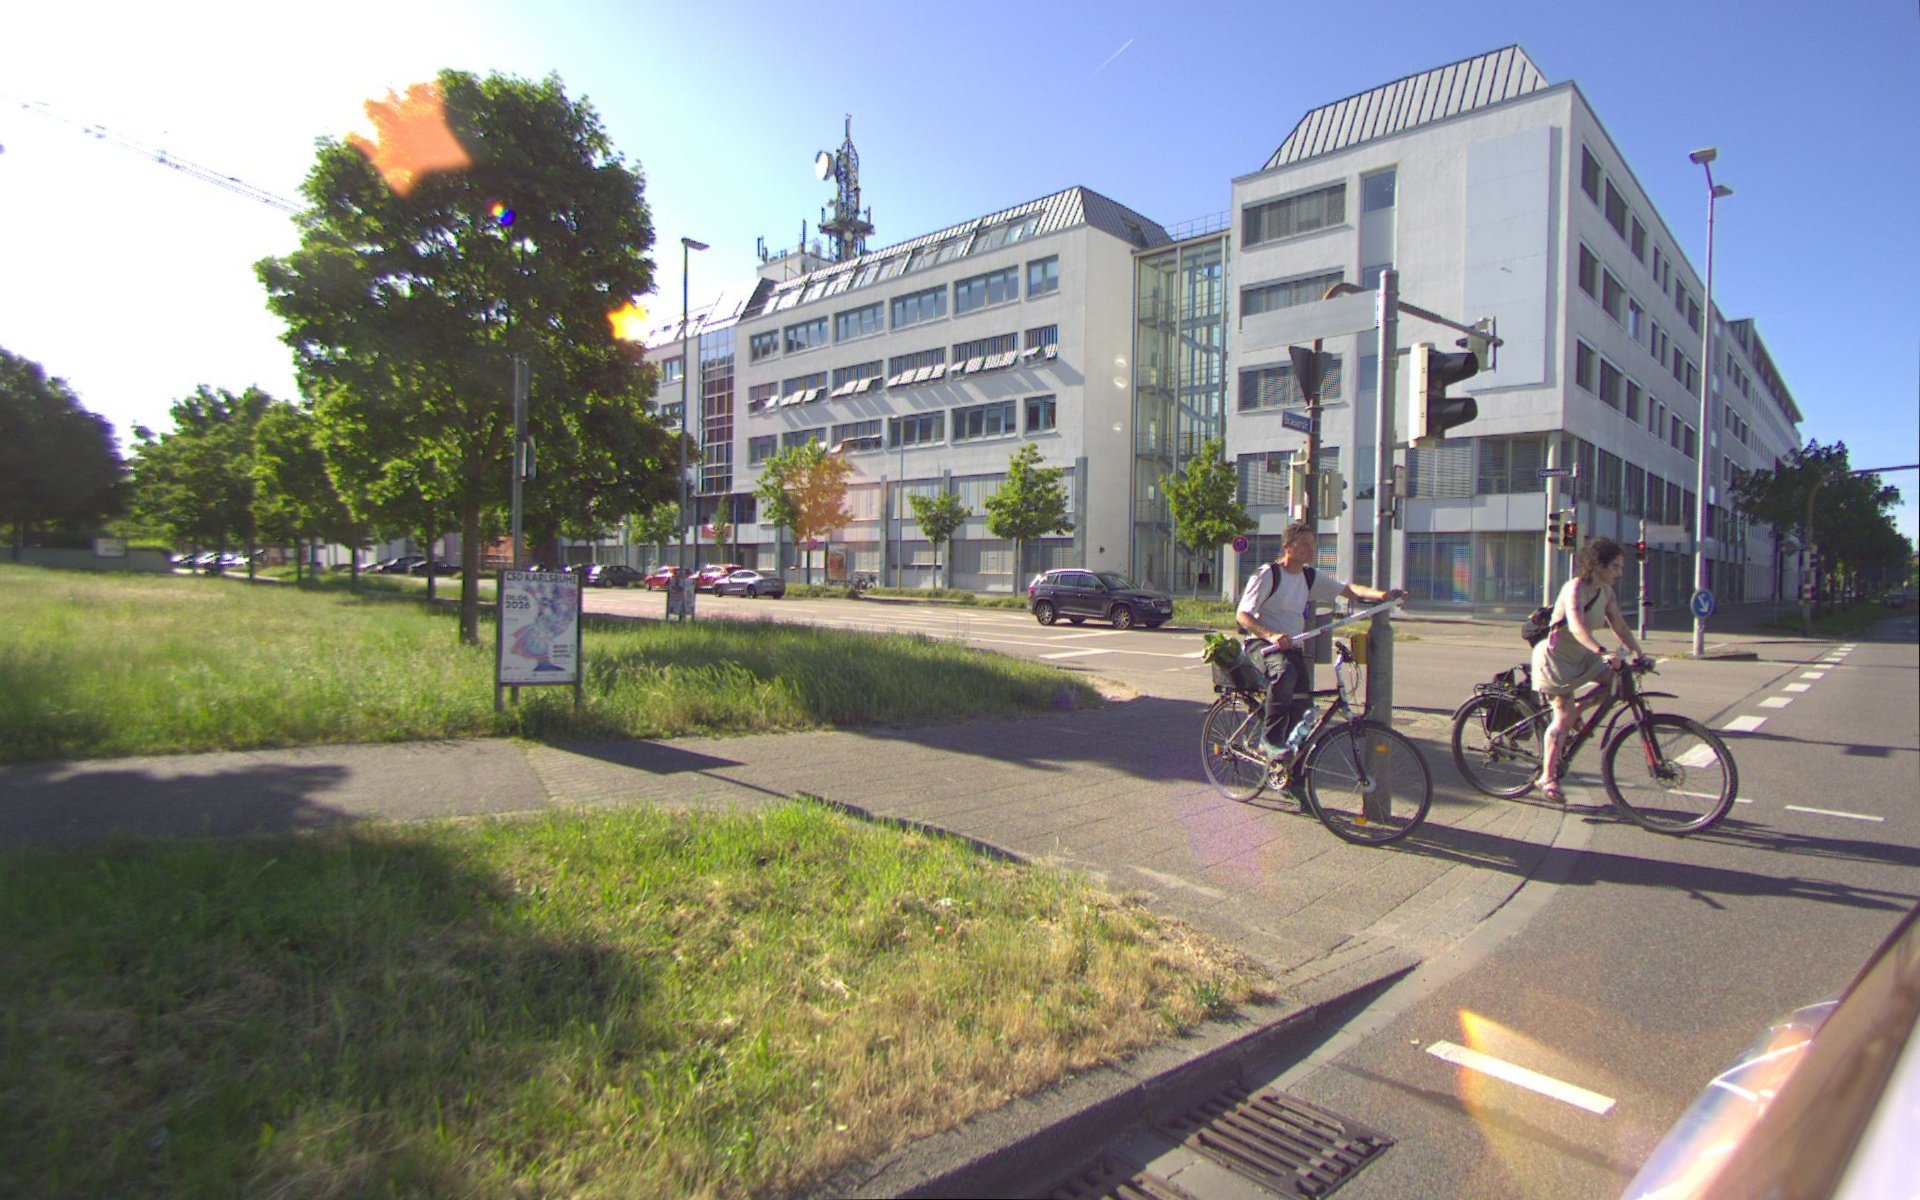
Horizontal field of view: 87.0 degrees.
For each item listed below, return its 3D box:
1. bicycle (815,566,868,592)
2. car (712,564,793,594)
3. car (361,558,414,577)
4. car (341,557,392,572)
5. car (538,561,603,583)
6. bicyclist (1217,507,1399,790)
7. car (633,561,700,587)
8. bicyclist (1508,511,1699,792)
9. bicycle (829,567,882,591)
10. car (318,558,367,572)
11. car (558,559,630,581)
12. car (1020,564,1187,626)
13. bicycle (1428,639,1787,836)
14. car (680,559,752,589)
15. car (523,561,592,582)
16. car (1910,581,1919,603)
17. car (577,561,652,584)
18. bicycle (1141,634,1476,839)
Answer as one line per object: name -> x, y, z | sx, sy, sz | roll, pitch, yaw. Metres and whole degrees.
bicycle -> -6.801, -1.210, 57.852 | 3.525, 1.365, 0.974 | 3, 2, 45
car -> -10.654, -1.100, 51.823 | 4.271, 1.437, 1.891 | 2, 2, 42
car -> -56.467, -3.178, 99.875 | 1.913, 1.777, 4.220 | 2, 2, 43
car -> -61.193, -3.643, 104.426 | 1.912, 1.437, 4.222 | 2, 2, 42
car -> -27.476, -1.971, 71.486 | 1.654, 1.437, 3.948 | 2, 2, 42
bicyclist -> 2.178, 0.268, 6.339 | 0.834, 1.620, 0.714 | 0, 1, -39
car -> -17.702, -1.565, 60.952 | 4.271, 1.437, 1.891 | 2, 2, 42
bicyclist -> 4.210, 0.305, 6.647 | 0.800, 1.712, 0.716 | 1, 1, -27
bicycle -> -6.073, -1.226, 58.593 | 3.525, 1.365, 0.974 | 3, 2, 45
car -> -67.680, -3.851, 110.942 | 1.912, 1.437, 4.222 | 2, 2, 42
car -> -24.697, -2.024, 68.408 | 1.912, 1.437, 4.222 | 2, 2, 42
car -> 4.135, -0.227, 29.682 | 1.967, 1.642, 4.620 | -1, 3, -44
bicycle -> 4.174, 0.814, 6.704 | 0.800, 0.975, 1.832 | 0, 2, -27
car -> -13.900, -1.477, 57.490 | 4.271, 1.614, 1.891 | 2, 2, 42
car -> -29.190, -2.068, 73.457 | 1.912, 1.437, 4.222 | 2, 2, 42
car -> 77.348, -0.597, 81.118 | 1.688, 1.731, 4.175 | 2, 2, 43
car -> -22.654, -1.782, 66.454 | 1.912, 1.437, 4.222 | 2, 2, 42
bicycle -> 2.130, 0.764, 6.400 | 0.840, 0.975, 1.827 | 0, 2, -38
